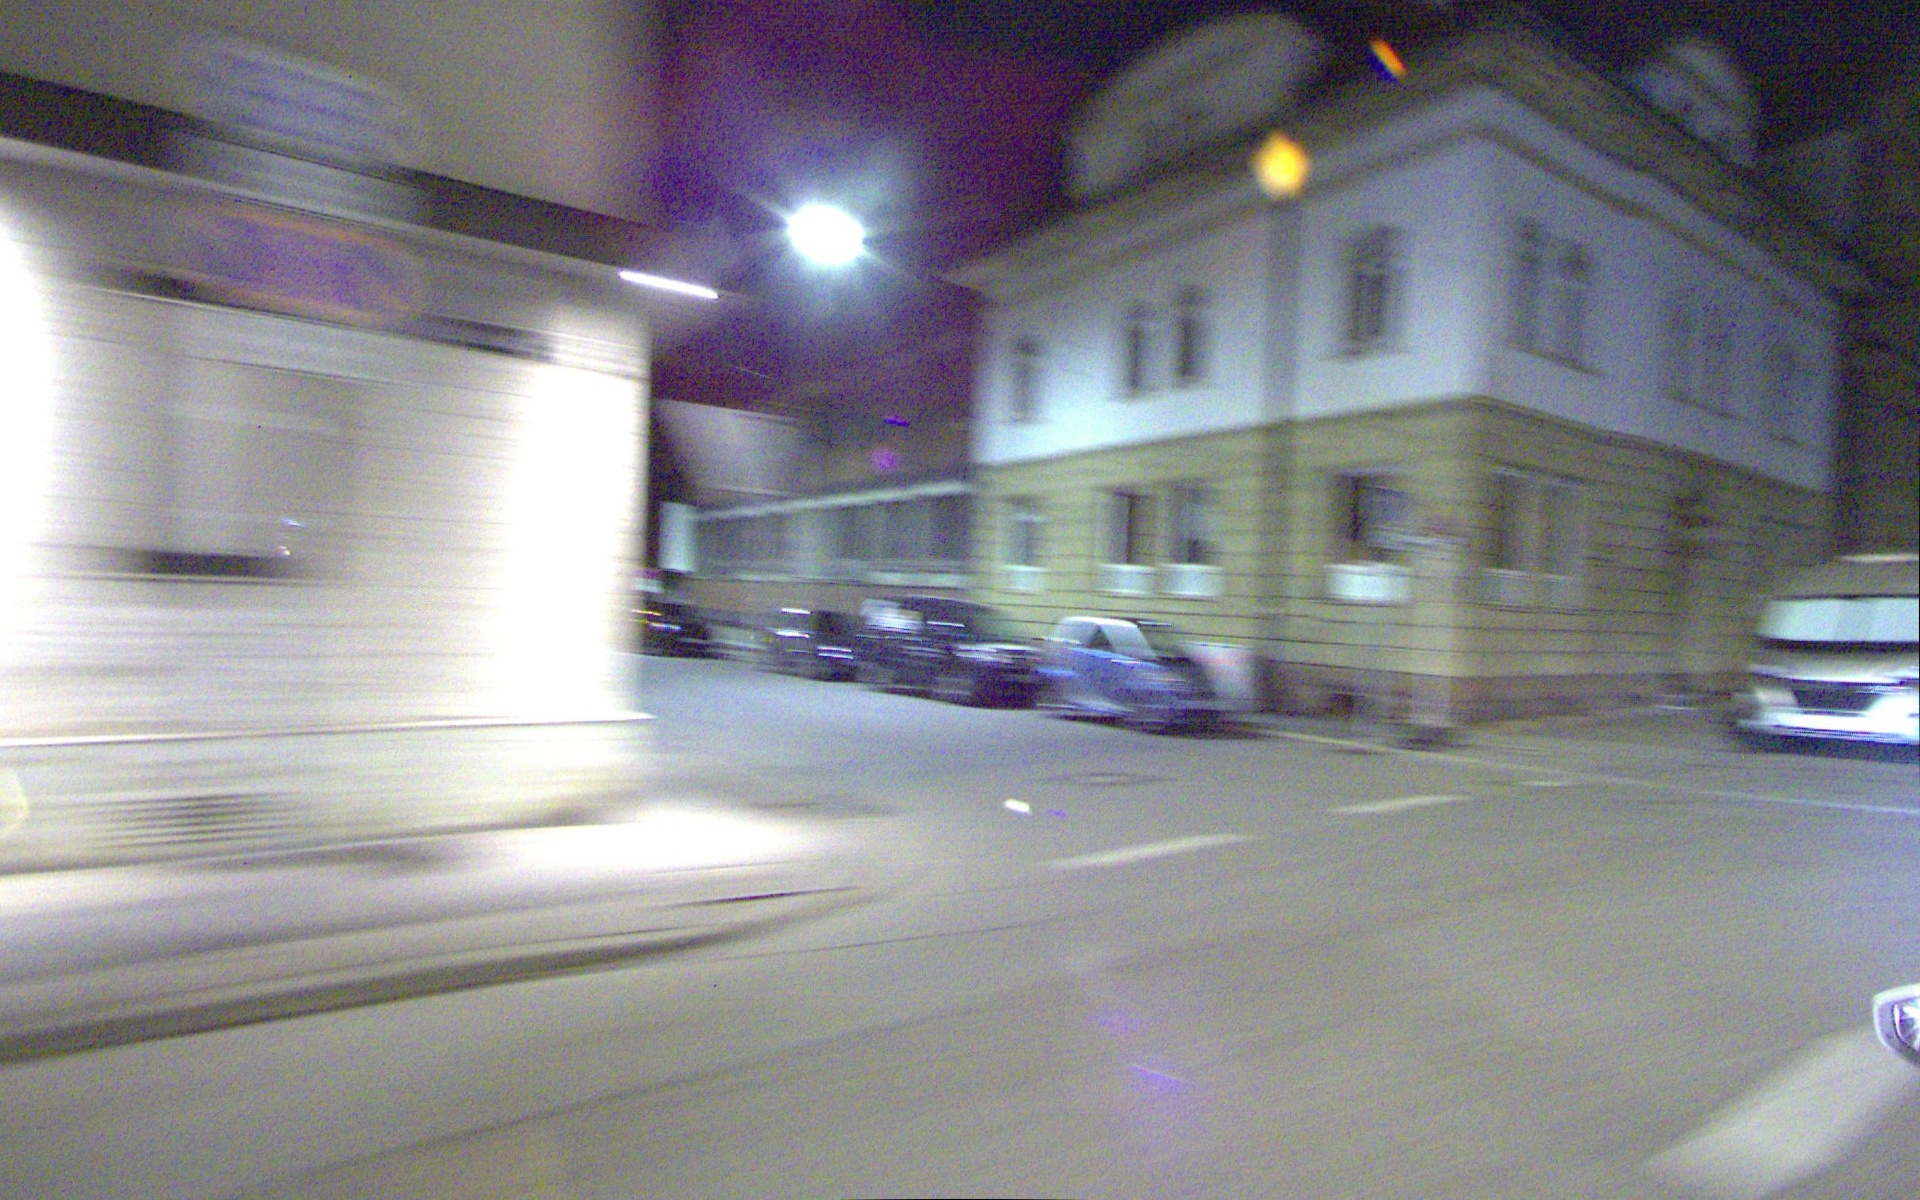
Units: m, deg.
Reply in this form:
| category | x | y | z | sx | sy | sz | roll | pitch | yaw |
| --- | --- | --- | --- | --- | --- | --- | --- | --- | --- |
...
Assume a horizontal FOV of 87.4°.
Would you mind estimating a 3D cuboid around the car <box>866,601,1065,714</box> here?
| category | x | y | z | sx | sy | sz | roll | pitch | yaw |
| --- | --- | --- | --- | --- | --- | --- | --- | --- | --- |
| car | -0.011 | 0.938 | 18.020 | 1.700 | 1.789 | 3.847 | 2 | -1 | -34 |

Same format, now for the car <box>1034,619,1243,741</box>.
| category | x | y | z | sx | sy | sz | roll | pitch | yaw |
| --- | --- | --- | --- | --- | --- | --- | --- | --- | --- |
| car | 2.529 | 1.083 | 14.665 | 1.474 | 1.533 | 2.792 | 2 | -1 | -34 |

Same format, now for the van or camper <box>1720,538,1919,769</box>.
| category | x | y | z | sx | sy | sz | roll | pitch | yaw |
| --- | --- | --- | --- | --- | --- | --- | --- | --- | --- |
| van or camper | 12.772 | 0.696 | 13.618 | 6.165 | 2.569 | 2.144 | 2 | -3 | -35 |

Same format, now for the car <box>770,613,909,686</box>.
| category | x | y | z | sx | sy | sz | roll | pitch | yaw |
| --- | --- | --- | --- | --- | --- | --- | --- | --- | --- |
| car | -2.806 | 1.068 | 22.856 | 1.721 | 1.490 | 3.551 | 2 | -1 | -33 |

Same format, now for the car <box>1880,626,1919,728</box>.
| category | x | y | z | sx | sy | sz | roll | pitch | yaw |
| --- | --- | --- | --- | --- | --- | --- | --- | --- | --- |
| car | 17.244 | 1.263 | 16.774 | 4.330 | 1.612 | 1.880 | 2 | -2 | -35 |

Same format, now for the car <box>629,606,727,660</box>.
| category | x | y | z | sx | sy | sz | roll | pitch | yaw |
| --- | --- | --- | --- | --- | --- | --- | --- | --- | --- |
| car | -8.794 | 0.989 | 31.136 | 1.732 | 1.476 | 3.962 | 4 | -2 | -34 |
